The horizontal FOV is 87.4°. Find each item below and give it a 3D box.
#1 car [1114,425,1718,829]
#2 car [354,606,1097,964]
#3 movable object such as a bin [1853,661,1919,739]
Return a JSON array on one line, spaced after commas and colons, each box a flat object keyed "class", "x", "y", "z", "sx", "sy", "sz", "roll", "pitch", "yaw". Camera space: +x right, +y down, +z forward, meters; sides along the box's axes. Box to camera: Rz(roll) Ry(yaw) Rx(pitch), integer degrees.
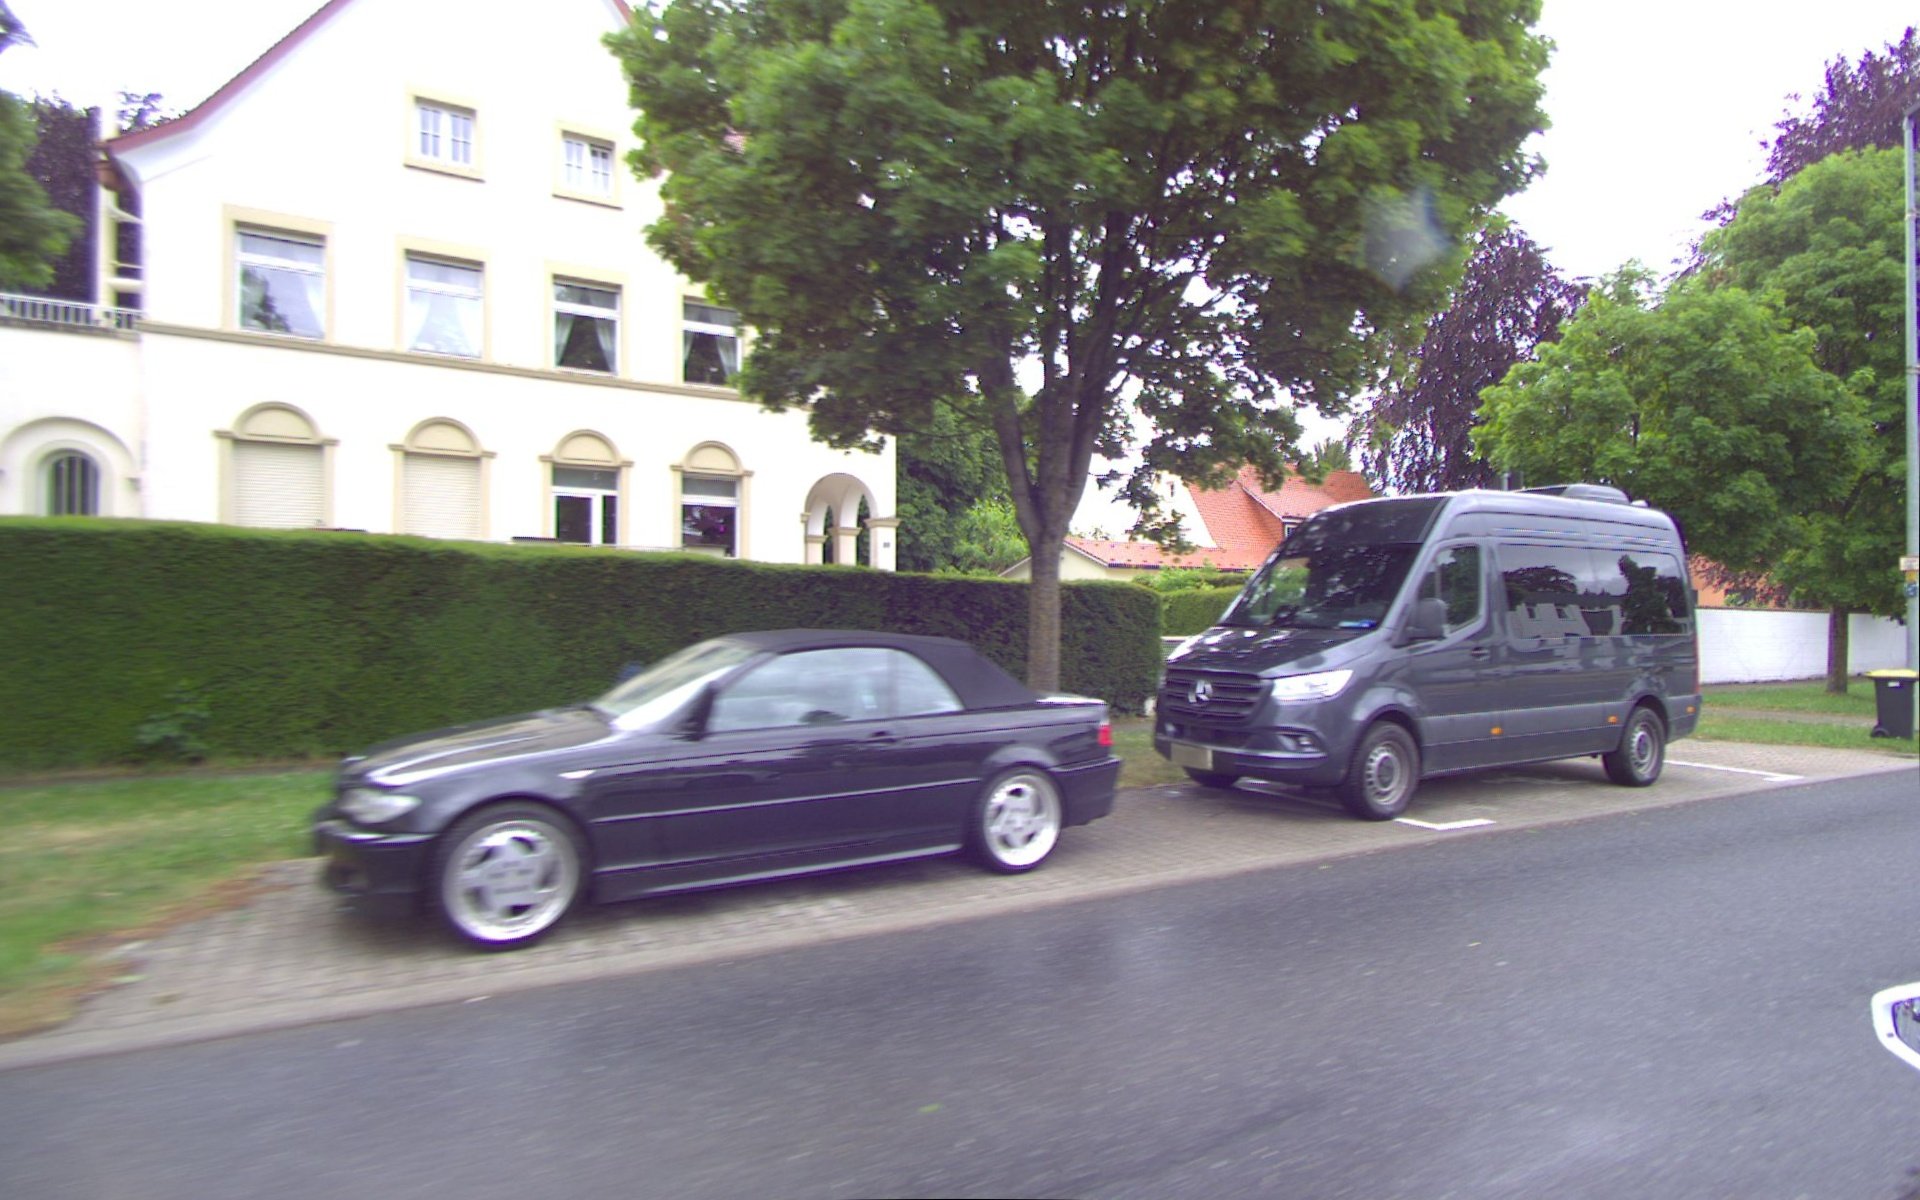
[{"class": "car", "x": 4.359, "y": 0.230, "z": 9.208, "sx": 5.867, "sy": 2.765, "sz": 1.984, "roll": 1, "pitch": 0, "yaw": -30}, {"class": "car", "x": -1.229, "y": 0.786, "z": 5.741, "sx": 3.781, "sy": 1.427, "sz": 1.714, "roll": 1, "pitch": -1, "yaw": -31}, {"class": "movable object such as a bin", "x": 12.253, "y": 1.306, "z": 13.247, "sx": 0.542, "sy": 0.966, "sz": 0.556, "roll": 1, "pitch": -1, "yaw": -26}]
